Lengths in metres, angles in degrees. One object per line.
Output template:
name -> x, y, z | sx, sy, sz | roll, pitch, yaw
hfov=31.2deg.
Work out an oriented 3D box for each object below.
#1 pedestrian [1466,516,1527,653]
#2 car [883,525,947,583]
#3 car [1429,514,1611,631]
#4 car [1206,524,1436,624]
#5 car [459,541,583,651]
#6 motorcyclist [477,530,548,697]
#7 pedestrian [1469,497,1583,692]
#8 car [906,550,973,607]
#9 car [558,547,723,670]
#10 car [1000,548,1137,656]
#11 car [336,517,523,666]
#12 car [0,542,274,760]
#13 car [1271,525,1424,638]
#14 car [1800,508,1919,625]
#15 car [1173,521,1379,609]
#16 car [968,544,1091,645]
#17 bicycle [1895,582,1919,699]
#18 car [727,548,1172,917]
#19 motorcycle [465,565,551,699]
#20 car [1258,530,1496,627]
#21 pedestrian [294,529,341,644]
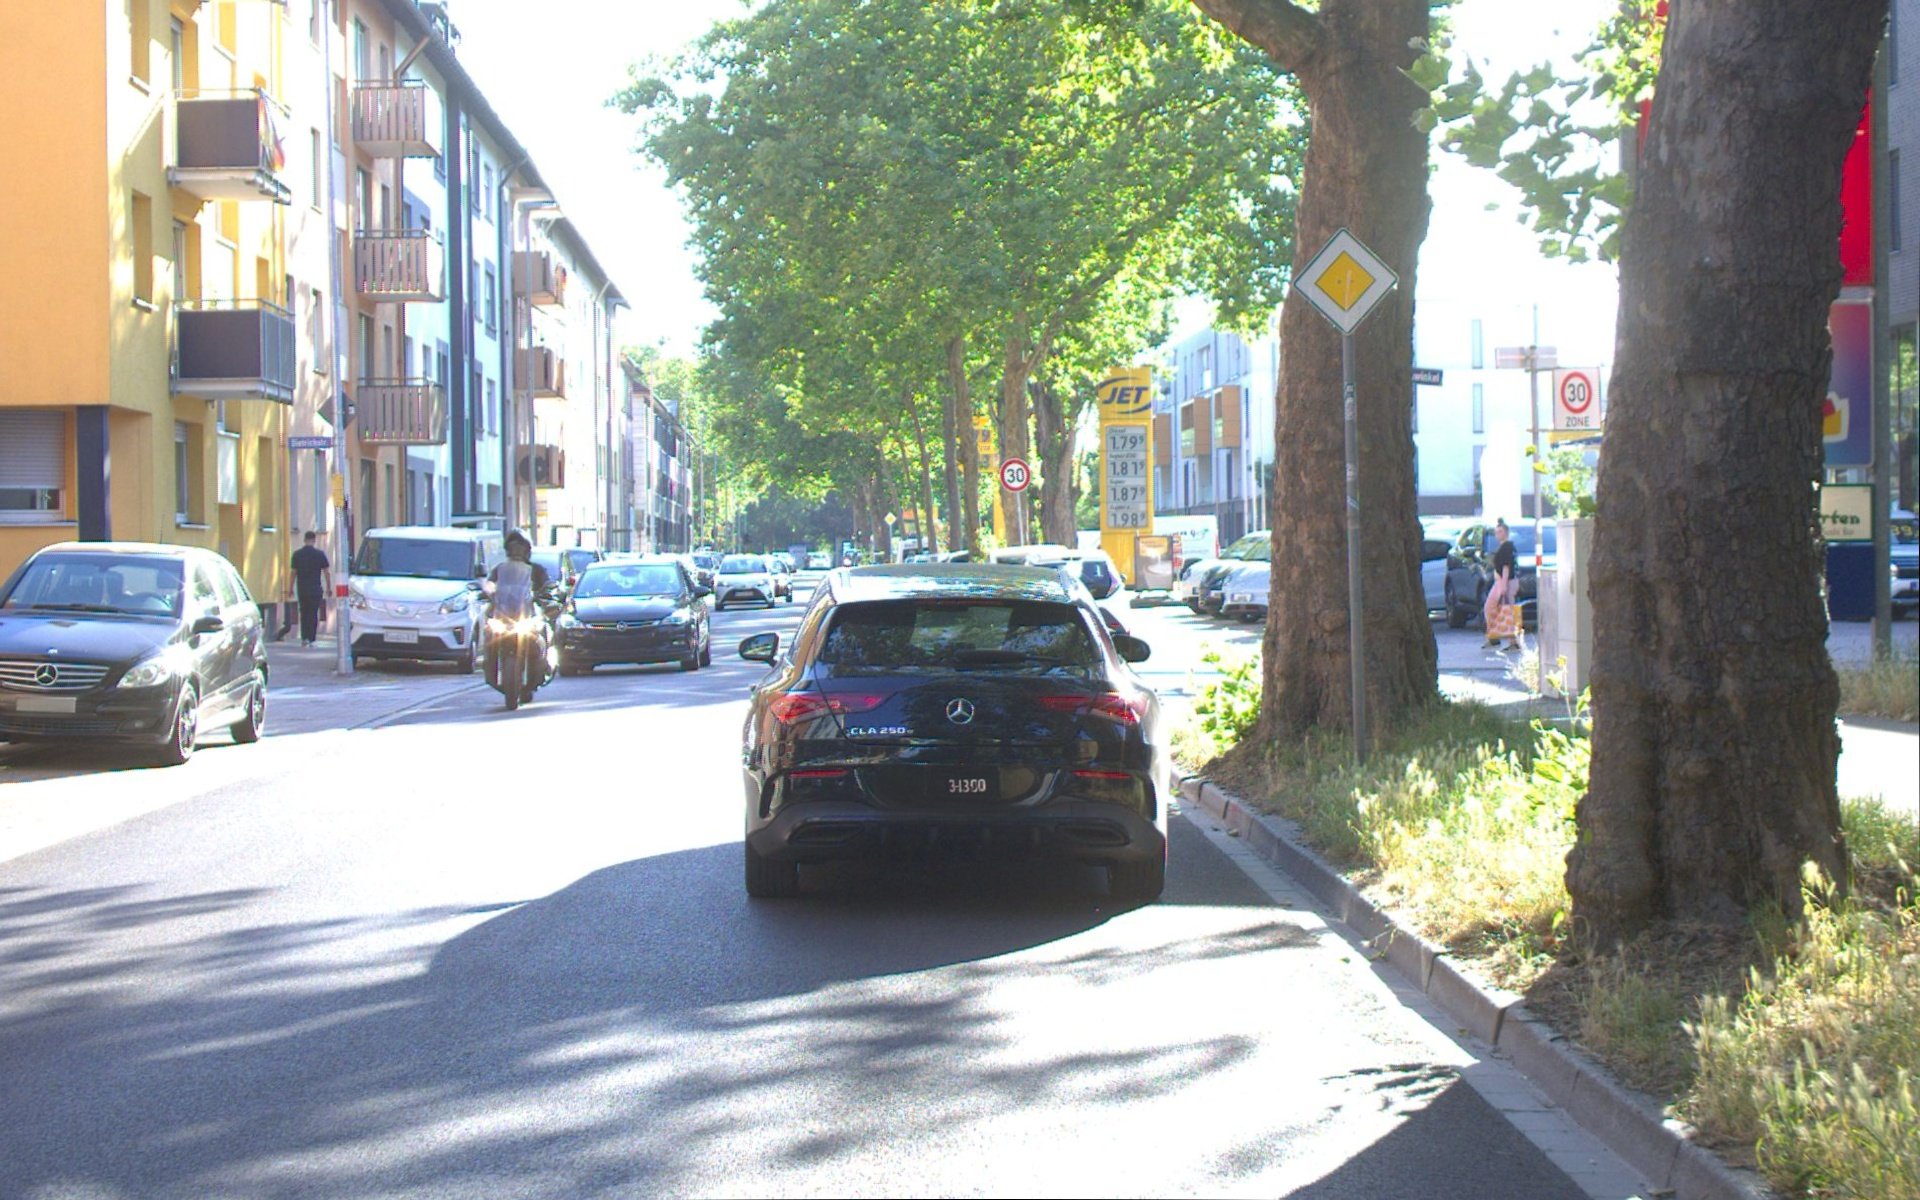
pedestrian -> 6.793, -0.199, 43.511 | 0.692, 1.717, 0.721 | -1, 1, 12
car -> -1.626, -1.639, 123.471 | 1.993, 2.007, 4.000 | 0, -1, -5
car -> 8.683, -0.446, 53.639 | 1.825, 1.726, 4.369 | -1, 1, -4
car -> 6.346, -0.468, 60.295 | 3.808, 1.604, 1.741 | -3, 2, -37
car -> -7.496, -0.104, 59.040 | 1.745, 1.781, 4.550 | 1, 1, -3
motorcyclist -> -4.365, 0.122, 33.569 | 0.585, 1.600, 0.831 | -1, 1, -2
pedestrian -> 5.229, -0.054, 31.778 | 0.767, 1.755, 0.664 | -3, 1, -15
car -> -0.610, -0.614, 98.258 | 1.722, 1.552, 3.601 | 1, 0, -3
car -> -4.099, 0.075, 44.675 | 1.771, 1.473, 4.322 | -1, 1, -1
car -> 1.566, 0.019, 50.761 | 1.635, 1.463, 4.021 | -2, 0, -3
car -> -7.168, -0.150, 46.888 | 1.734, 1.900, 5.209 | 0, 1, 0
car -> -6.519, 0.331, 26.409 | 1.678, 1.518, 4.021 | 1, 1, 0
car -> 5.987, -0.316, 53.508 | 1.752, 1.664, 4.158 | -1, 1, -2
car -> 14.588, -0.539, 53.251 | 1.875, 1.727, 4.181 | -1, 1, -4
car -> 6.165, -0.690, 66.931 | 3.808, 1.573, 1.746 | -3, 2, -39
car -> 1.130, -0.101, 57.585 | 1.810, 1.533, 4.583 | -3, 0, -1
bicycle -> 8.536, 0.348, 29.207 | 0.382, 1.000, 1.487 | -1, 1, -18
car -> -0.033, 0.498, 15.666 | 1.744, 1.438, 3.969 | 1, 1, 0
motorcycle -> -4.388, 0.290, 33.500 | 0.547, 1.237, 2.264 | -3, 1, -2
car -> 7.008, -0.378, 57.691 | 3.807, 1.540, 1.662 | -2, 1, -35
pedestrian -> -10.068, -0.216, 53.907 | 0.587, 1.784, 0.642 | -1, 1, -1
